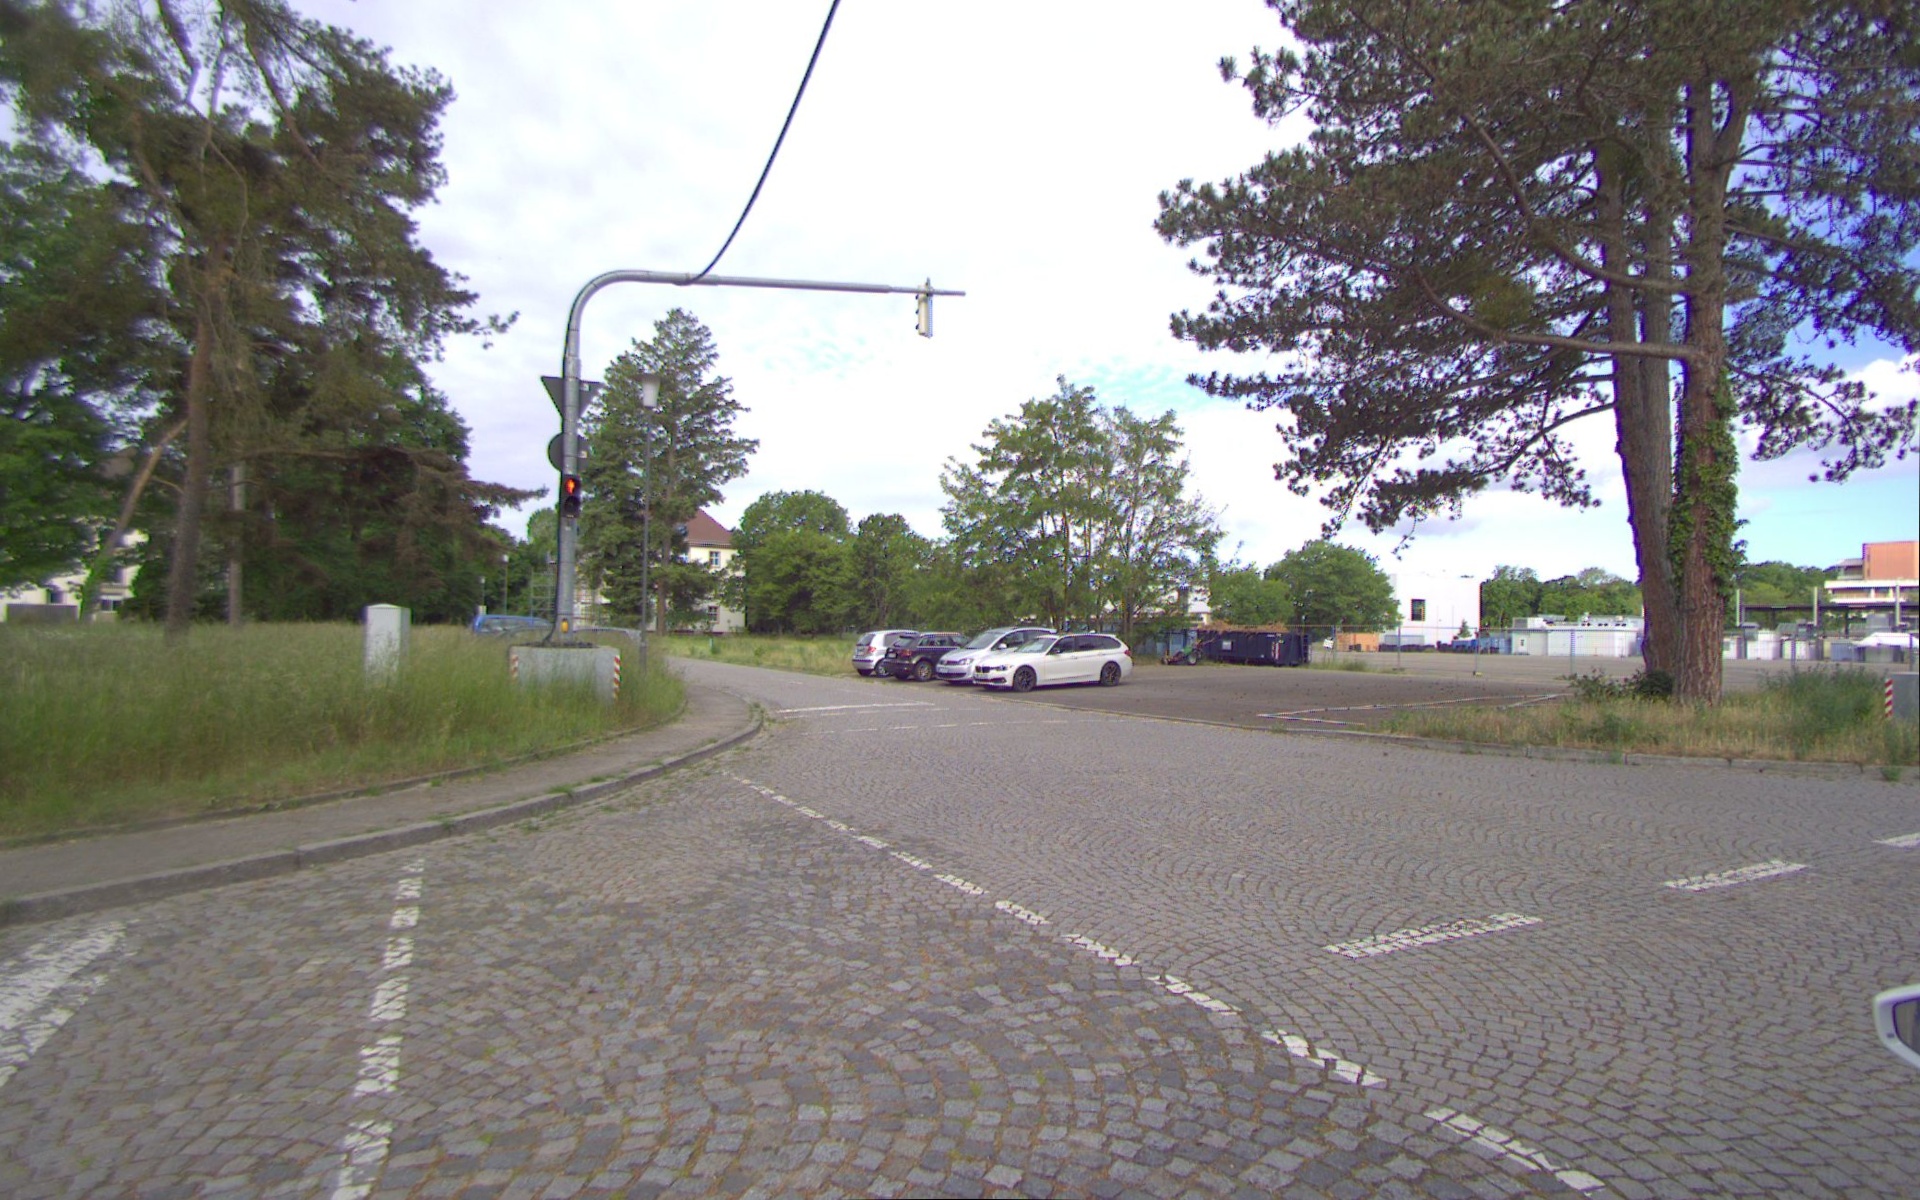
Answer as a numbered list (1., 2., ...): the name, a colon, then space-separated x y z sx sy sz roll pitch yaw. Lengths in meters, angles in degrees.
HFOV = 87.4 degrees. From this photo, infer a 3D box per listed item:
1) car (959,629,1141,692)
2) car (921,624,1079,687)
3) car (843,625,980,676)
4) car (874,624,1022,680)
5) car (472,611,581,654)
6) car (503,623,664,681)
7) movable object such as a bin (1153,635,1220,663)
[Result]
1. car: 2.445 1.555 26.829 4.685 1.461 1.801 0 -1 -31
2. car: 1.182 1.543 29.074 4.277 1.605 1.812 -1 0 -32
3. car: -1.604 1.692 33.635 4.278 1.586 1.784 2 -2 -32
4. car: -0.361 1.570 31.264 4.277 1.522 1.845 -1 0 -32
5. car: -21.041 1.591 48.790 4.734 2.007 1.984 1 -1 -28
6. car: -10.425 1.444 27.854 3.952 1.492 1.678 2 -2 -29
7. movable object such as a bin: 9.181 1.992 40.684 2.630 1.061 1.171 2 -2 -33
